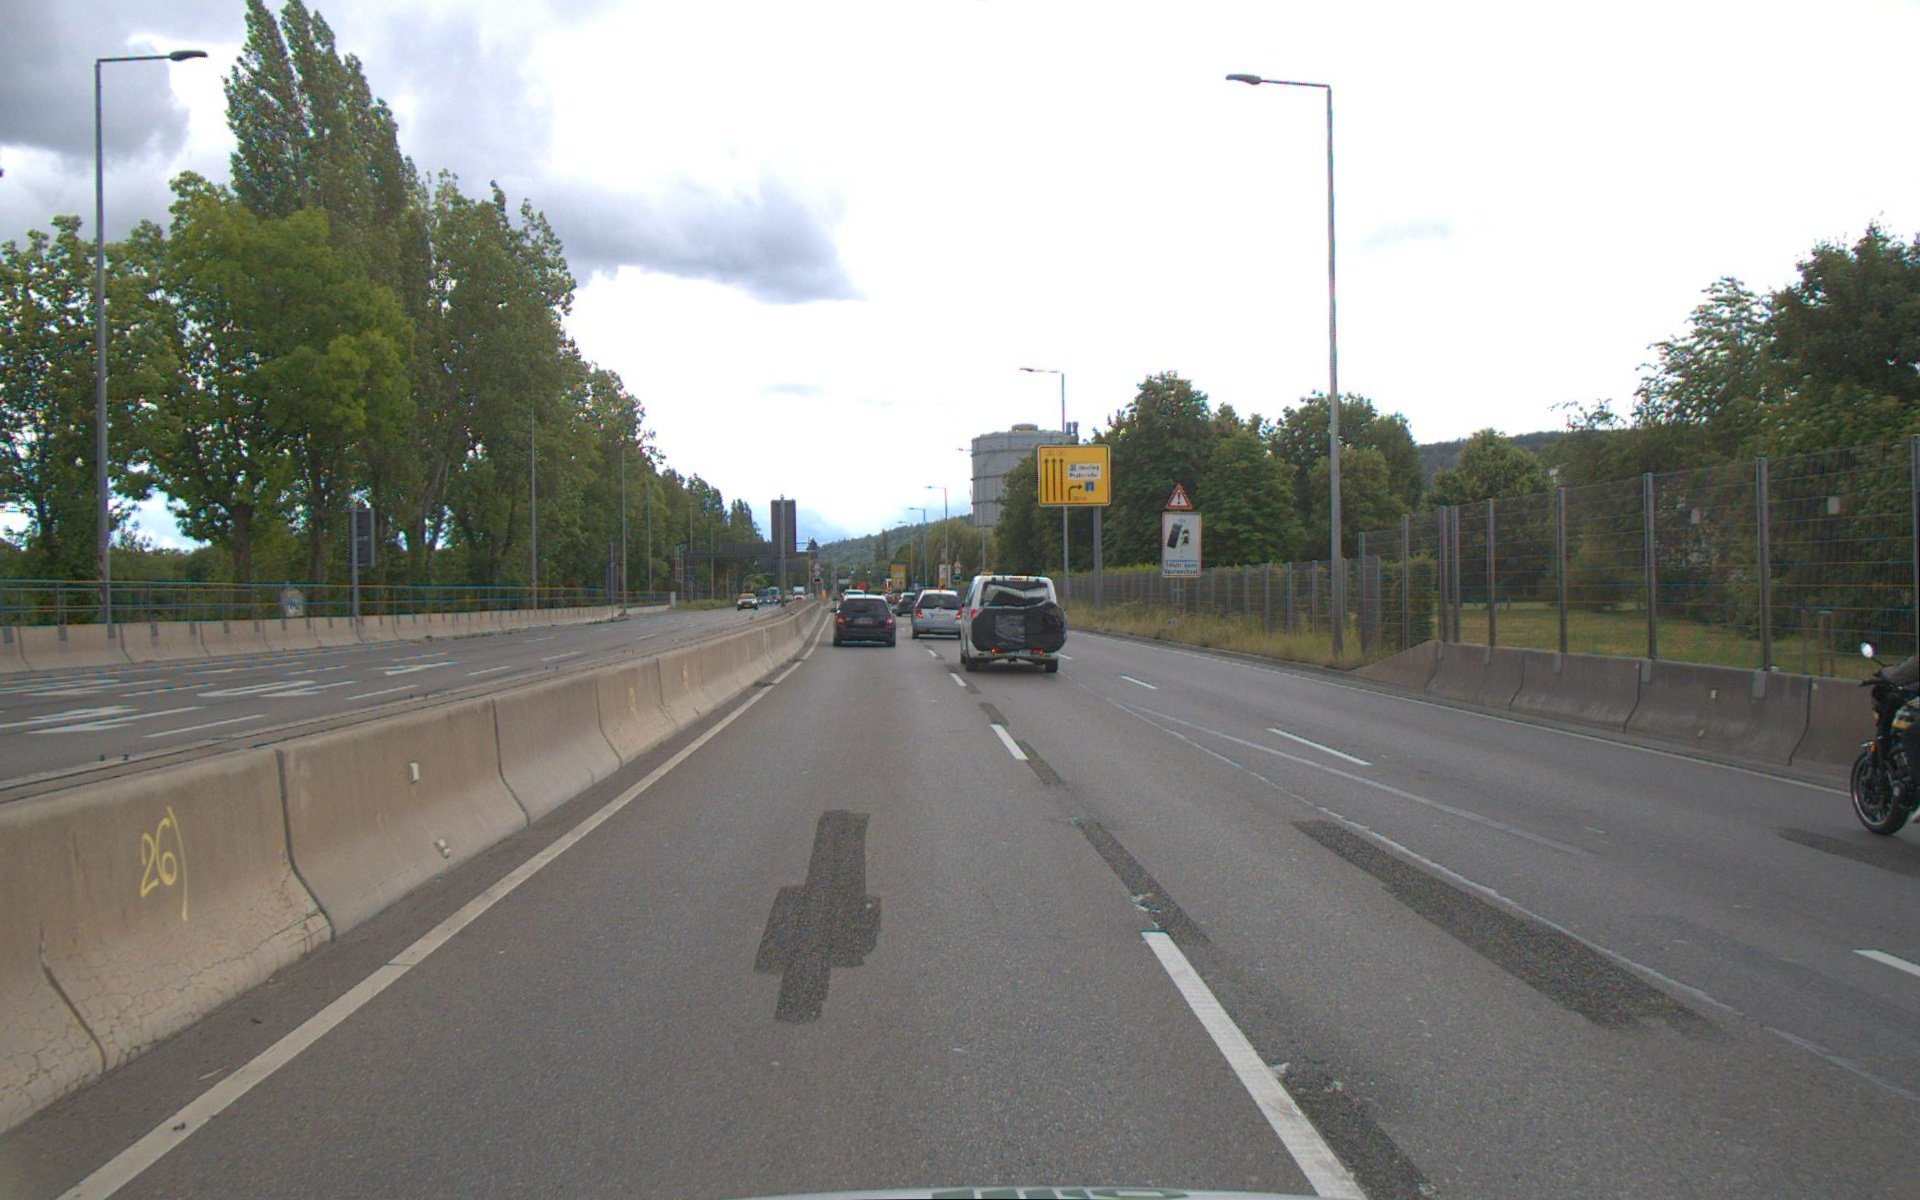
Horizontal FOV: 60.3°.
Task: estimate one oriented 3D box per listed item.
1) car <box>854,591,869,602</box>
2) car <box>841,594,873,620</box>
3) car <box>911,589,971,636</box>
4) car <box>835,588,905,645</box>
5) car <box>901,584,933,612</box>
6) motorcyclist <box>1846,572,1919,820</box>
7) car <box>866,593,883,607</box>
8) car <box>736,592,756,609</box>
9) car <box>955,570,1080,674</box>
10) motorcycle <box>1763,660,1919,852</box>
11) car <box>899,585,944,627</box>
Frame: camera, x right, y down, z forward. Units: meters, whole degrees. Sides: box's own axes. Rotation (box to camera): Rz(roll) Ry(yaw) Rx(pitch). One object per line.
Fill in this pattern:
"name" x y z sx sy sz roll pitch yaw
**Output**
"car" -14.417 -0.521 241.284 1.955 1.683 3.995 0 0 -6
"car" -7.090 0.500 114.259 1.953 1.702 3.999 1 -1 -1
"car" -0.659 0.393 54.691 1.882 1.515 4.063 0 0 -2
"car" -2.472 0.424 46.353 1.778 1.459 4.064 -1 1 -1
"car" -2.707 -0.114 103.062 1.953 1.698 3.998 0 0 -2
"motorcyclist" 6.217 0.578 10.255 0.895 1.502 0.965 0 0 -6
"car" -10.342 -0.049 200.760 1.954 1.683 3.997 0 0 -4
"car" -18.576 0.032 143.950 1.700 1.398 3.611 0 0 -7
"car" 1.074 0.395 33.666 1.953 1.891 5.637 2 0 -4
"motorcycle" 6.197 0.983 10.447 0.729 1.102 2.661 -1 0 -6
"car" -1.819 0.268 76.167 1.954 1.892 3.998 0 0 -3
